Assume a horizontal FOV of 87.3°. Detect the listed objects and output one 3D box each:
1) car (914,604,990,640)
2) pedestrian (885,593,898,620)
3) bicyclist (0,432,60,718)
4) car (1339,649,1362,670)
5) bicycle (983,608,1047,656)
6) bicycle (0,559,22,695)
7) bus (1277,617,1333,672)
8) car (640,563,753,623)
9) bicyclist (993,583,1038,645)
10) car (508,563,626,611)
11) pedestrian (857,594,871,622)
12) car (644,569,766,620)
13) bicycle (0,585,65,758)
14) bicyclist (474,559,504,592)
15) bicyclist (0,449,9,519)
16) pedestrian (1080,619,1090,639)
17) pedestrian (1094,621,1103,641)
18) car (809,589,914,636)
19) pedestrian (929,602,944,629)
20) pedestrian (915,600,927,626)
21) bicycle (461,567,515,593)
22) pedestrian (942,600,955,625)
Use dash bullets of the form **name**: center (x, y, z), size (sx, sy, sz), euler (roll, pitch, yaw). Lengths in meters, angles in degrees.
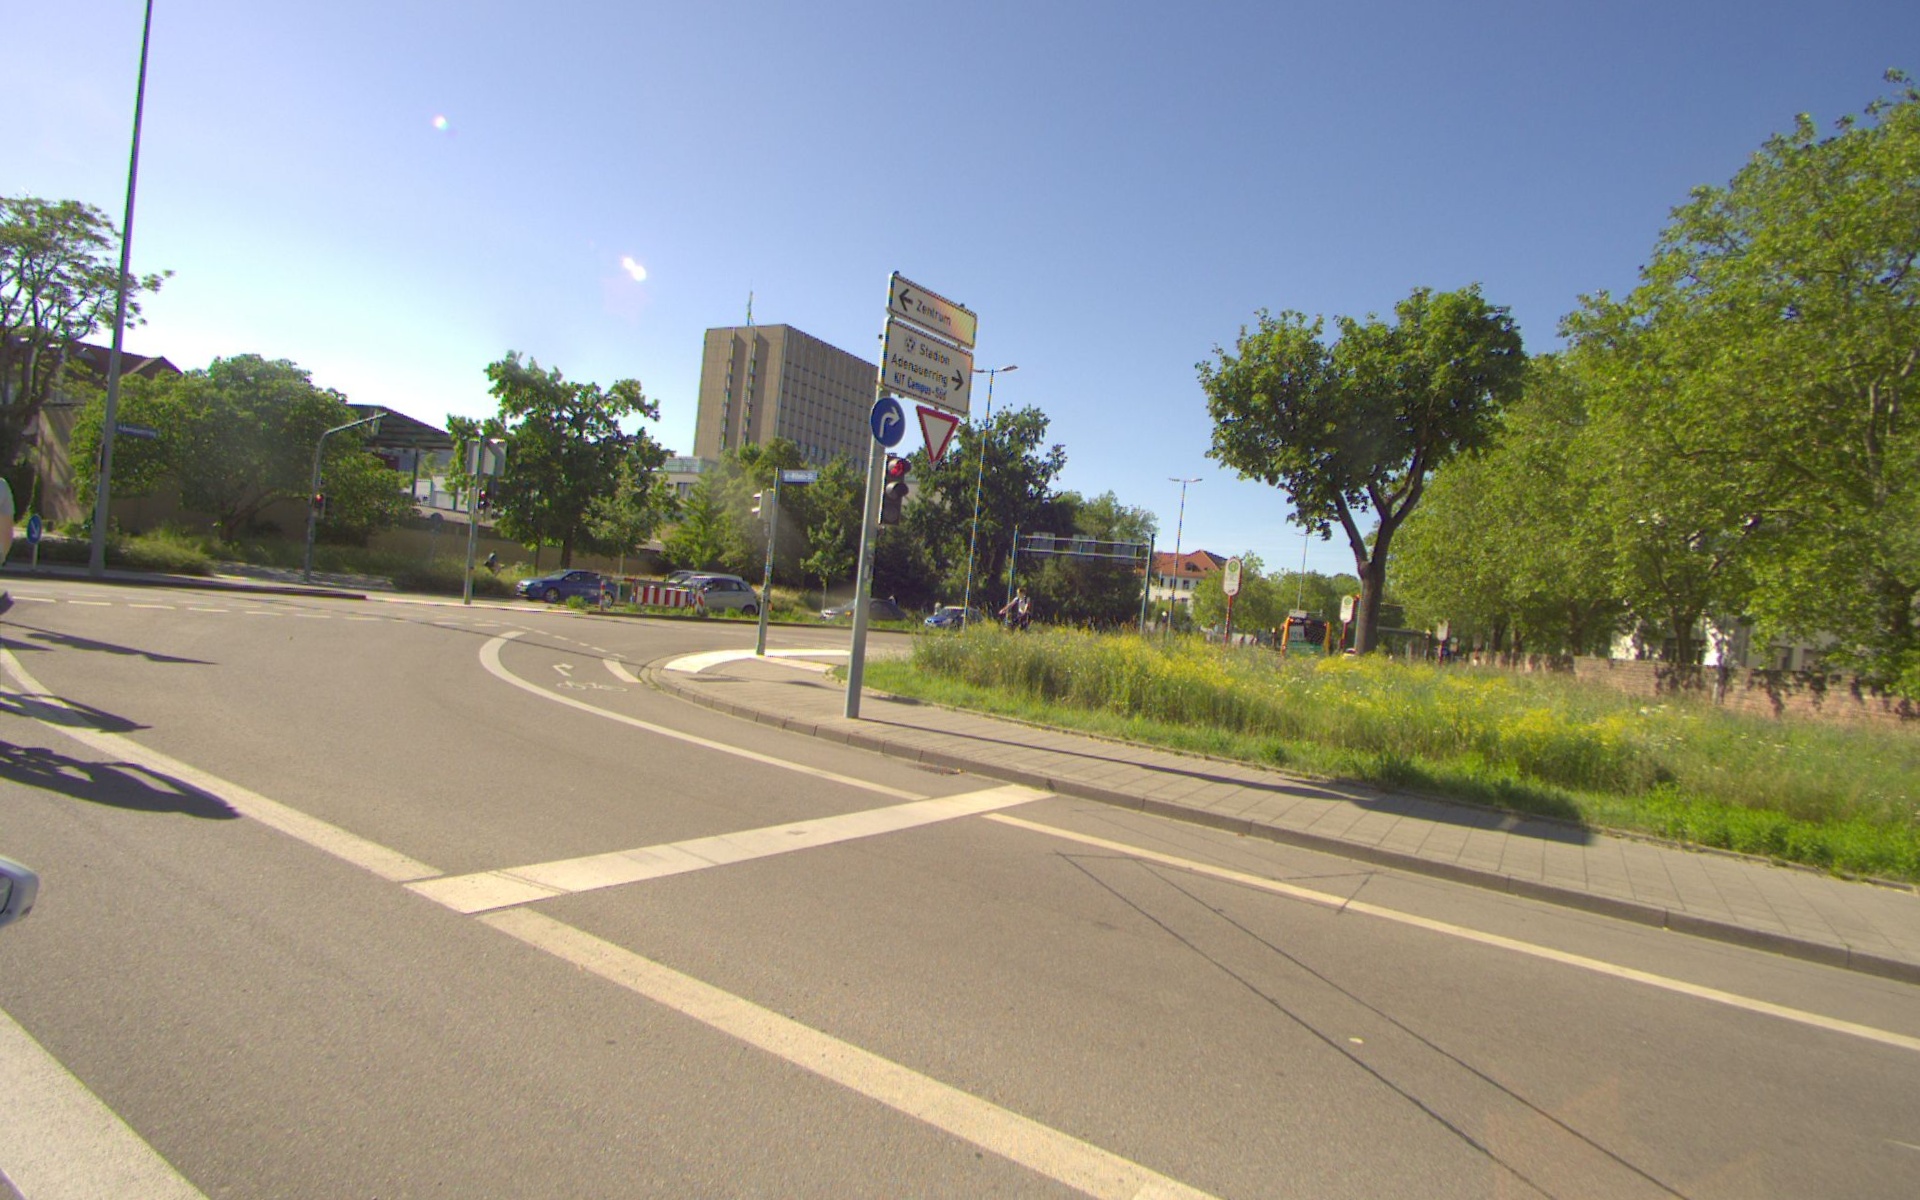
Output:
- **car**: center (-0.378, 1.117, 50.372), size (1.758, 1.448, 3.989), euler (6, 0, 34)
- **pedestrian**: center (-4.863, 0.463, 71.139), size (0.519, 1.800, 0.561), euler (7, 1, 37)
- **bicyclist**: center (-6.215, -0.203, 6.092), size (1.000, 1.688, 0.752), euler (6, -1, 33)
- **car**: center (33.789, 5.130, 86.946), size (1.668, 1.525, 3.773), euler (6, 0, 23)
- **bicycle**: center (1.333, 0.786, 23.925), size (0.509, 1.007, 2.056), euler (7, 0, 32)
- **bicycle**: center (-8.197, 0.090, 7.776), size (1.935, 1.014, 0.661), euler (6, -1, 26)
- **bus**: center (21.541, 2.903, 62.493), size (2.745, 2.662, 10.121), euler (7, -2, 21)
- **car**: center (-12.304, -0.271, 47.331), size (1.968, 2.131, 4.885), euler (6, -2, 34)
- **bicyclist**: center (1.322, 0.345, 23.840), size (0.509, 1.368, 1.002), euler (7, 1, 32)
- **car**: center (-16.085, -0.512, 41.341), size (1.717, 1.453, 4.162), euler (7, 0, 38)
- **pedestrian**: center (-6.485, 0.554, 68.051), size (0.519, 1.801, 0.561), euler (7, 1, 37)
- **car**: center (-9.426, -0.189, 37.431), size (1.840, 1.426, 4.046), euler (6, 0, 38)
- **bicycle**: center (-6.287, 0.340, 6.092), size (1.946, 0.906, 0.741), euler (6, -2, 33)
- **bicyclist**: center (-20.794, -1.094, 44.412), size (0.685, 1.333, 0.826), euler (9, 3, 34)
- **bicyclist**: center (-8.131, -0.371, 7.781), size (1.048, 1.759, 0.647), euler (7, -1, 26)
- **pedestrian**: center (11.831, 2.743, 95.317), size (0.519, 1.801, 0.561), euler (7, 1, 36)
- **pedestrian**: center (13.231, 2.962, 96.181), size (0.519, 1.801, 0.561), euler (7, 1, 35)
- **car**: center (-4.301, 0.582, 44.710), size (1.968, 1.604, 4.735), euler (6, 0, 34)
- **pedestrian**: center (-1.726, 1.118, 73.048), size (0.702, 1.872, 0.561), euler (7, 1, 35)
- **pedestrian**: center (-2.858, 0.940, 73.887), size (0.519, 1.801, 0.561), euler (7, 1, 35)
- **bicycle**: center (-20.790, -0.878, 44.351), size (0.684, 0.942, 2.082), euler (9, 2, 33)
- **pedestrian**: center (-0.869, 0.966, 76.337), size (0.519, 1.801, 0.561), euler (7, 1, 35)
